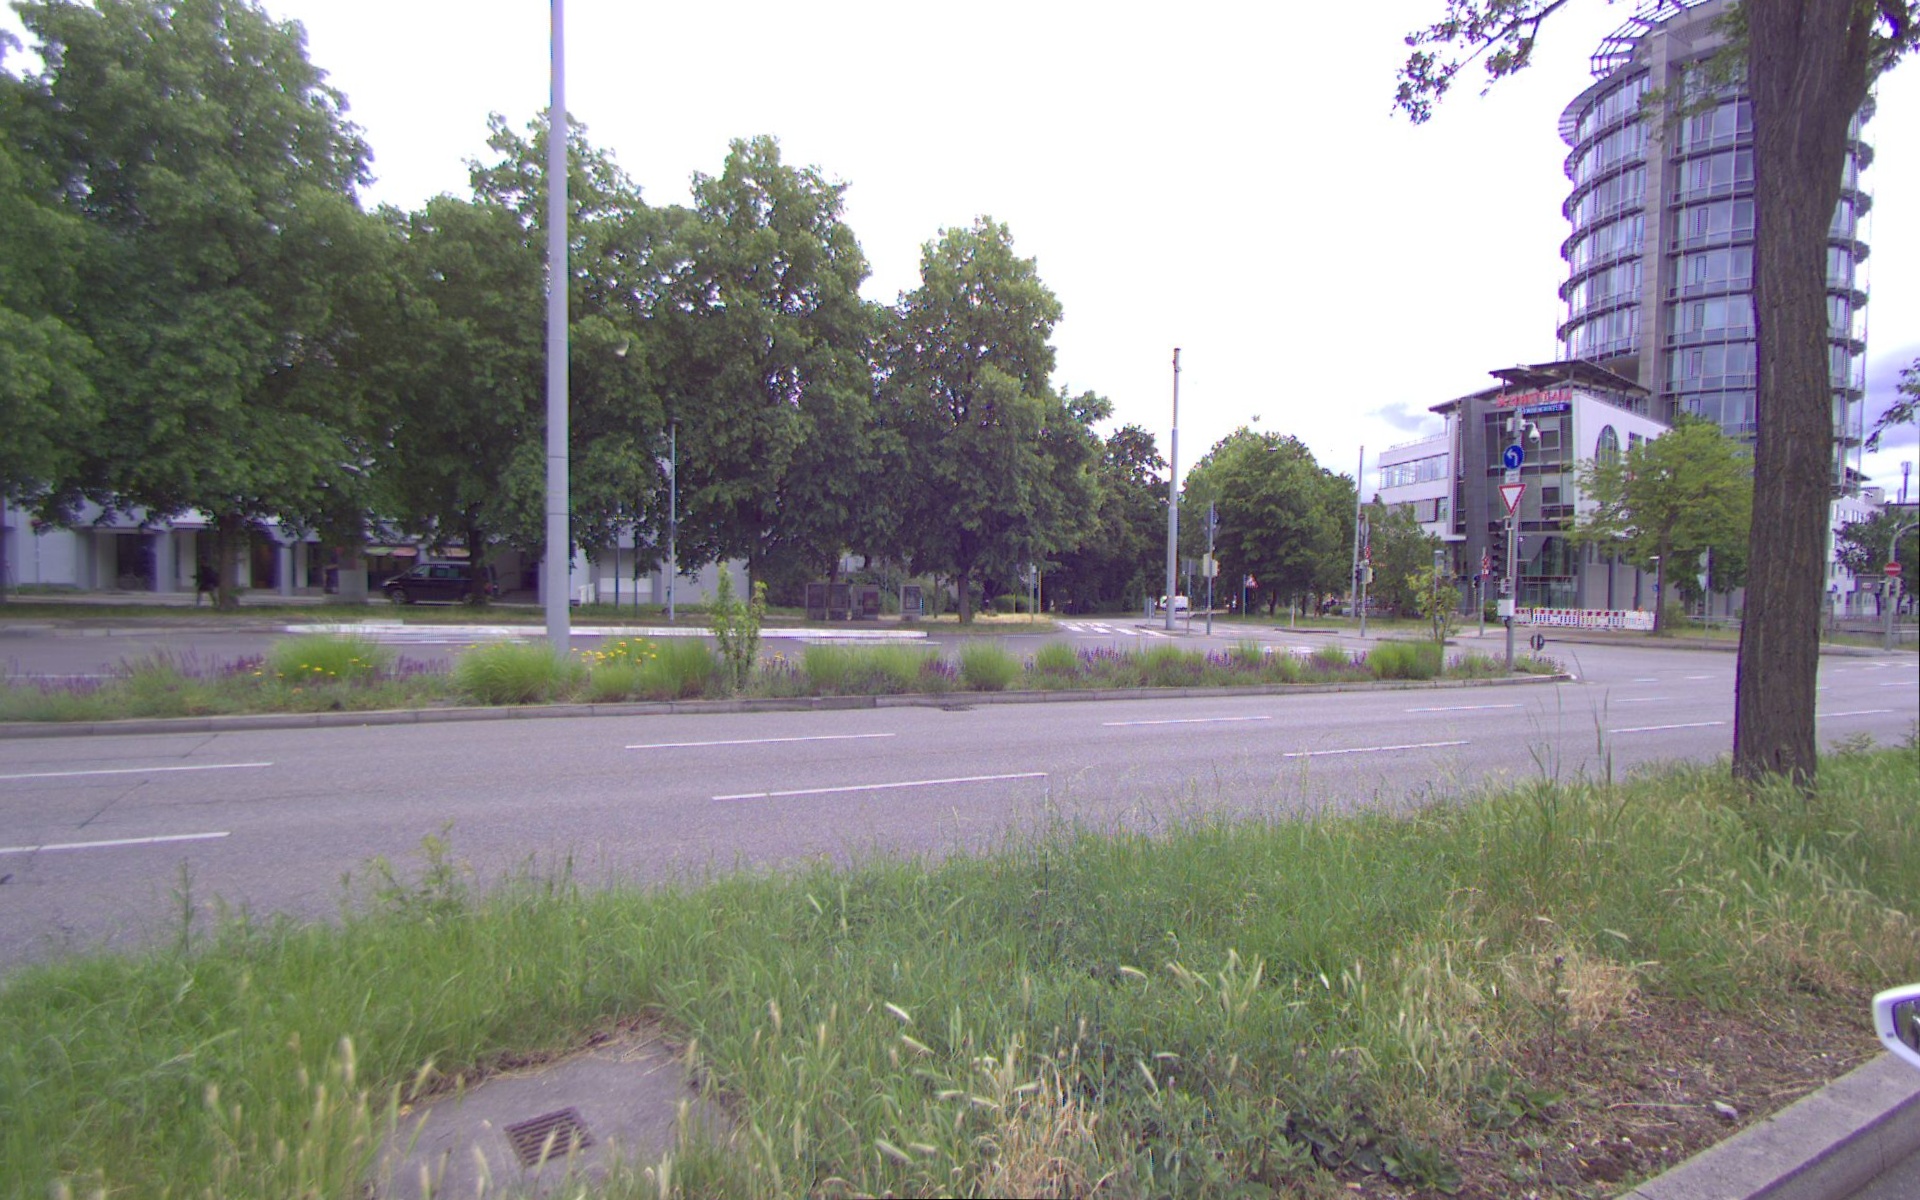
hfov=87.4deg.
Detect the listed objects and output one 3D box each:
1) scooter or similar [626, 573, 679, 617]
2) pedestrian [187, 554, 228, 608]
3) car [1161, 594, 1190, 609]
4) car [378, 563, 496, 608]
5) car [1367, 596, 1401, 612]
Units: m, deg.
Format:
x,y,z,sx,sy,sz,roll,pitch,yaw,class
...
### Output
x,y,z,sx,sy,sz,roll,pitch,yaw,class
-11.870,-0.184,38.843,1.835,1.686,0.645,1,1,-43,scooter or similar
-22.641,-0.574,30.234,0.894,1.578,0.766,1,1,-30,pedestrian
37.719,0.250,175.670,4.475,2.370,1.994,2,0,-16,car
-23.317,-0.639,44.940,4.345,1.872,1.781,1,1,-16,car
25.040,0.232,59.388,1.684,0.888,0.776,1,0,7,car
